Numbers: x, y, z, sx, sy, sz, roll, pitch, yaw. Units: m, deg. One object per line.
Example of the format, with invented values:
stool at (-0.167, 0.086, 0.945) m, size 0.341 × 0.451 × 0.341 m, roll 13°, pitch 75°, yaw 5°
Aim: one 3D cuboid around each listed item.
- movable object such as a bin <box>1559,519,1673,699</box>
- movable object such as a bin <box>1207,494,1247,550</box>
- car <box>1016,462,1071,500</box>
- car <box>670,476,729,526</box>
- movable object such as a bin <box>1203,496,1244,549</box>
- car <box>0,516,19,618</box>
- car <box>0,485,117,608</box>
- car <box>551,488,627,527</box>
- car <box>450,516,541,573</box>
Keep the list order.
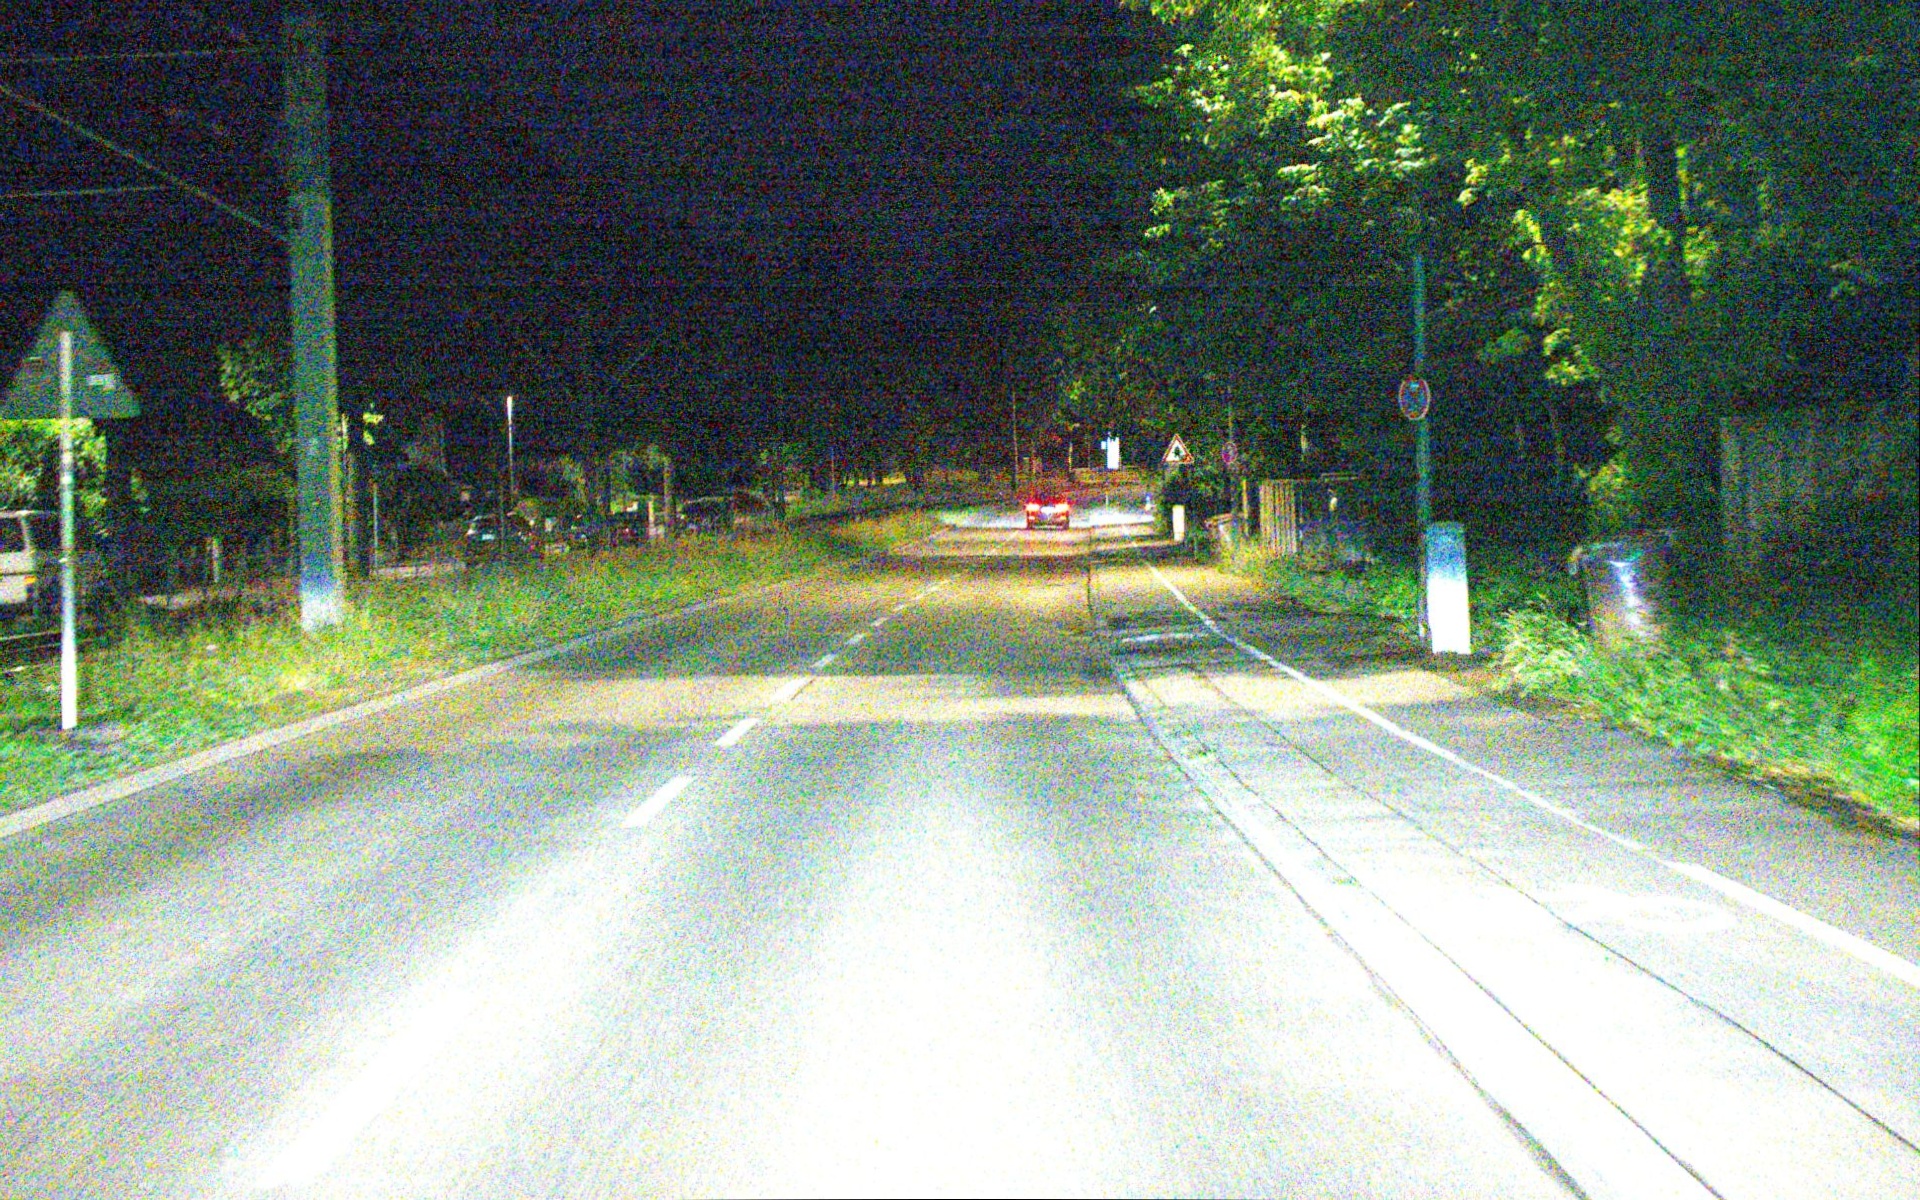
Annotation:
movable object such as a bin at (4.515, 0.053, 23.699) m, size 0.724 × 1.196 × 0.719 m, roll -1°, pitch 2°, yaw 9°
movable object such as a bin at (5.705, -1.667, 73.411) m, size 0.833 × 1.177 × 0.828 m, roll -1°, pitch 2°, yaw 5°
car at (3.526, -5.042, 146.135) m, size 2.161 × 1.577 × 4.014 m, roll -1°, pitch 2°, yaw -1°
car at (-11.687, -4.452, 154.320) m, size 2.091 × 2.006 × 4.000 m, roll -5°, pitch 2°, yaw 1°
movable object such as a bin at (5.689, -1.682, 74.289) m, size 0.857 × 1.115 × 0.840 m, roll -1°, pitch 2°, yaw 5°
car at (-15.474, -0.425, 49.810) m, size 1.902 × 1.517 × 5.171 m, roll -1°, pitch 2°, yaw 4°
car at (-15.220, -0.889, 55.876) m, size 1.857 × 1.897 × 4.880 m, roll -1°, pitch 2°, yaw -1°
car at (-13.330, -3.361, 123.858) m, size 1.993 × 1.333 × 5.432 m, roll -1°, pitch 2°, yaw 1°
car at (-14.030, -1.699, 104.085) m, size 1.993 × 1.622 × 4.677 m, roll -1°, pitch 2°, yaw 1°
